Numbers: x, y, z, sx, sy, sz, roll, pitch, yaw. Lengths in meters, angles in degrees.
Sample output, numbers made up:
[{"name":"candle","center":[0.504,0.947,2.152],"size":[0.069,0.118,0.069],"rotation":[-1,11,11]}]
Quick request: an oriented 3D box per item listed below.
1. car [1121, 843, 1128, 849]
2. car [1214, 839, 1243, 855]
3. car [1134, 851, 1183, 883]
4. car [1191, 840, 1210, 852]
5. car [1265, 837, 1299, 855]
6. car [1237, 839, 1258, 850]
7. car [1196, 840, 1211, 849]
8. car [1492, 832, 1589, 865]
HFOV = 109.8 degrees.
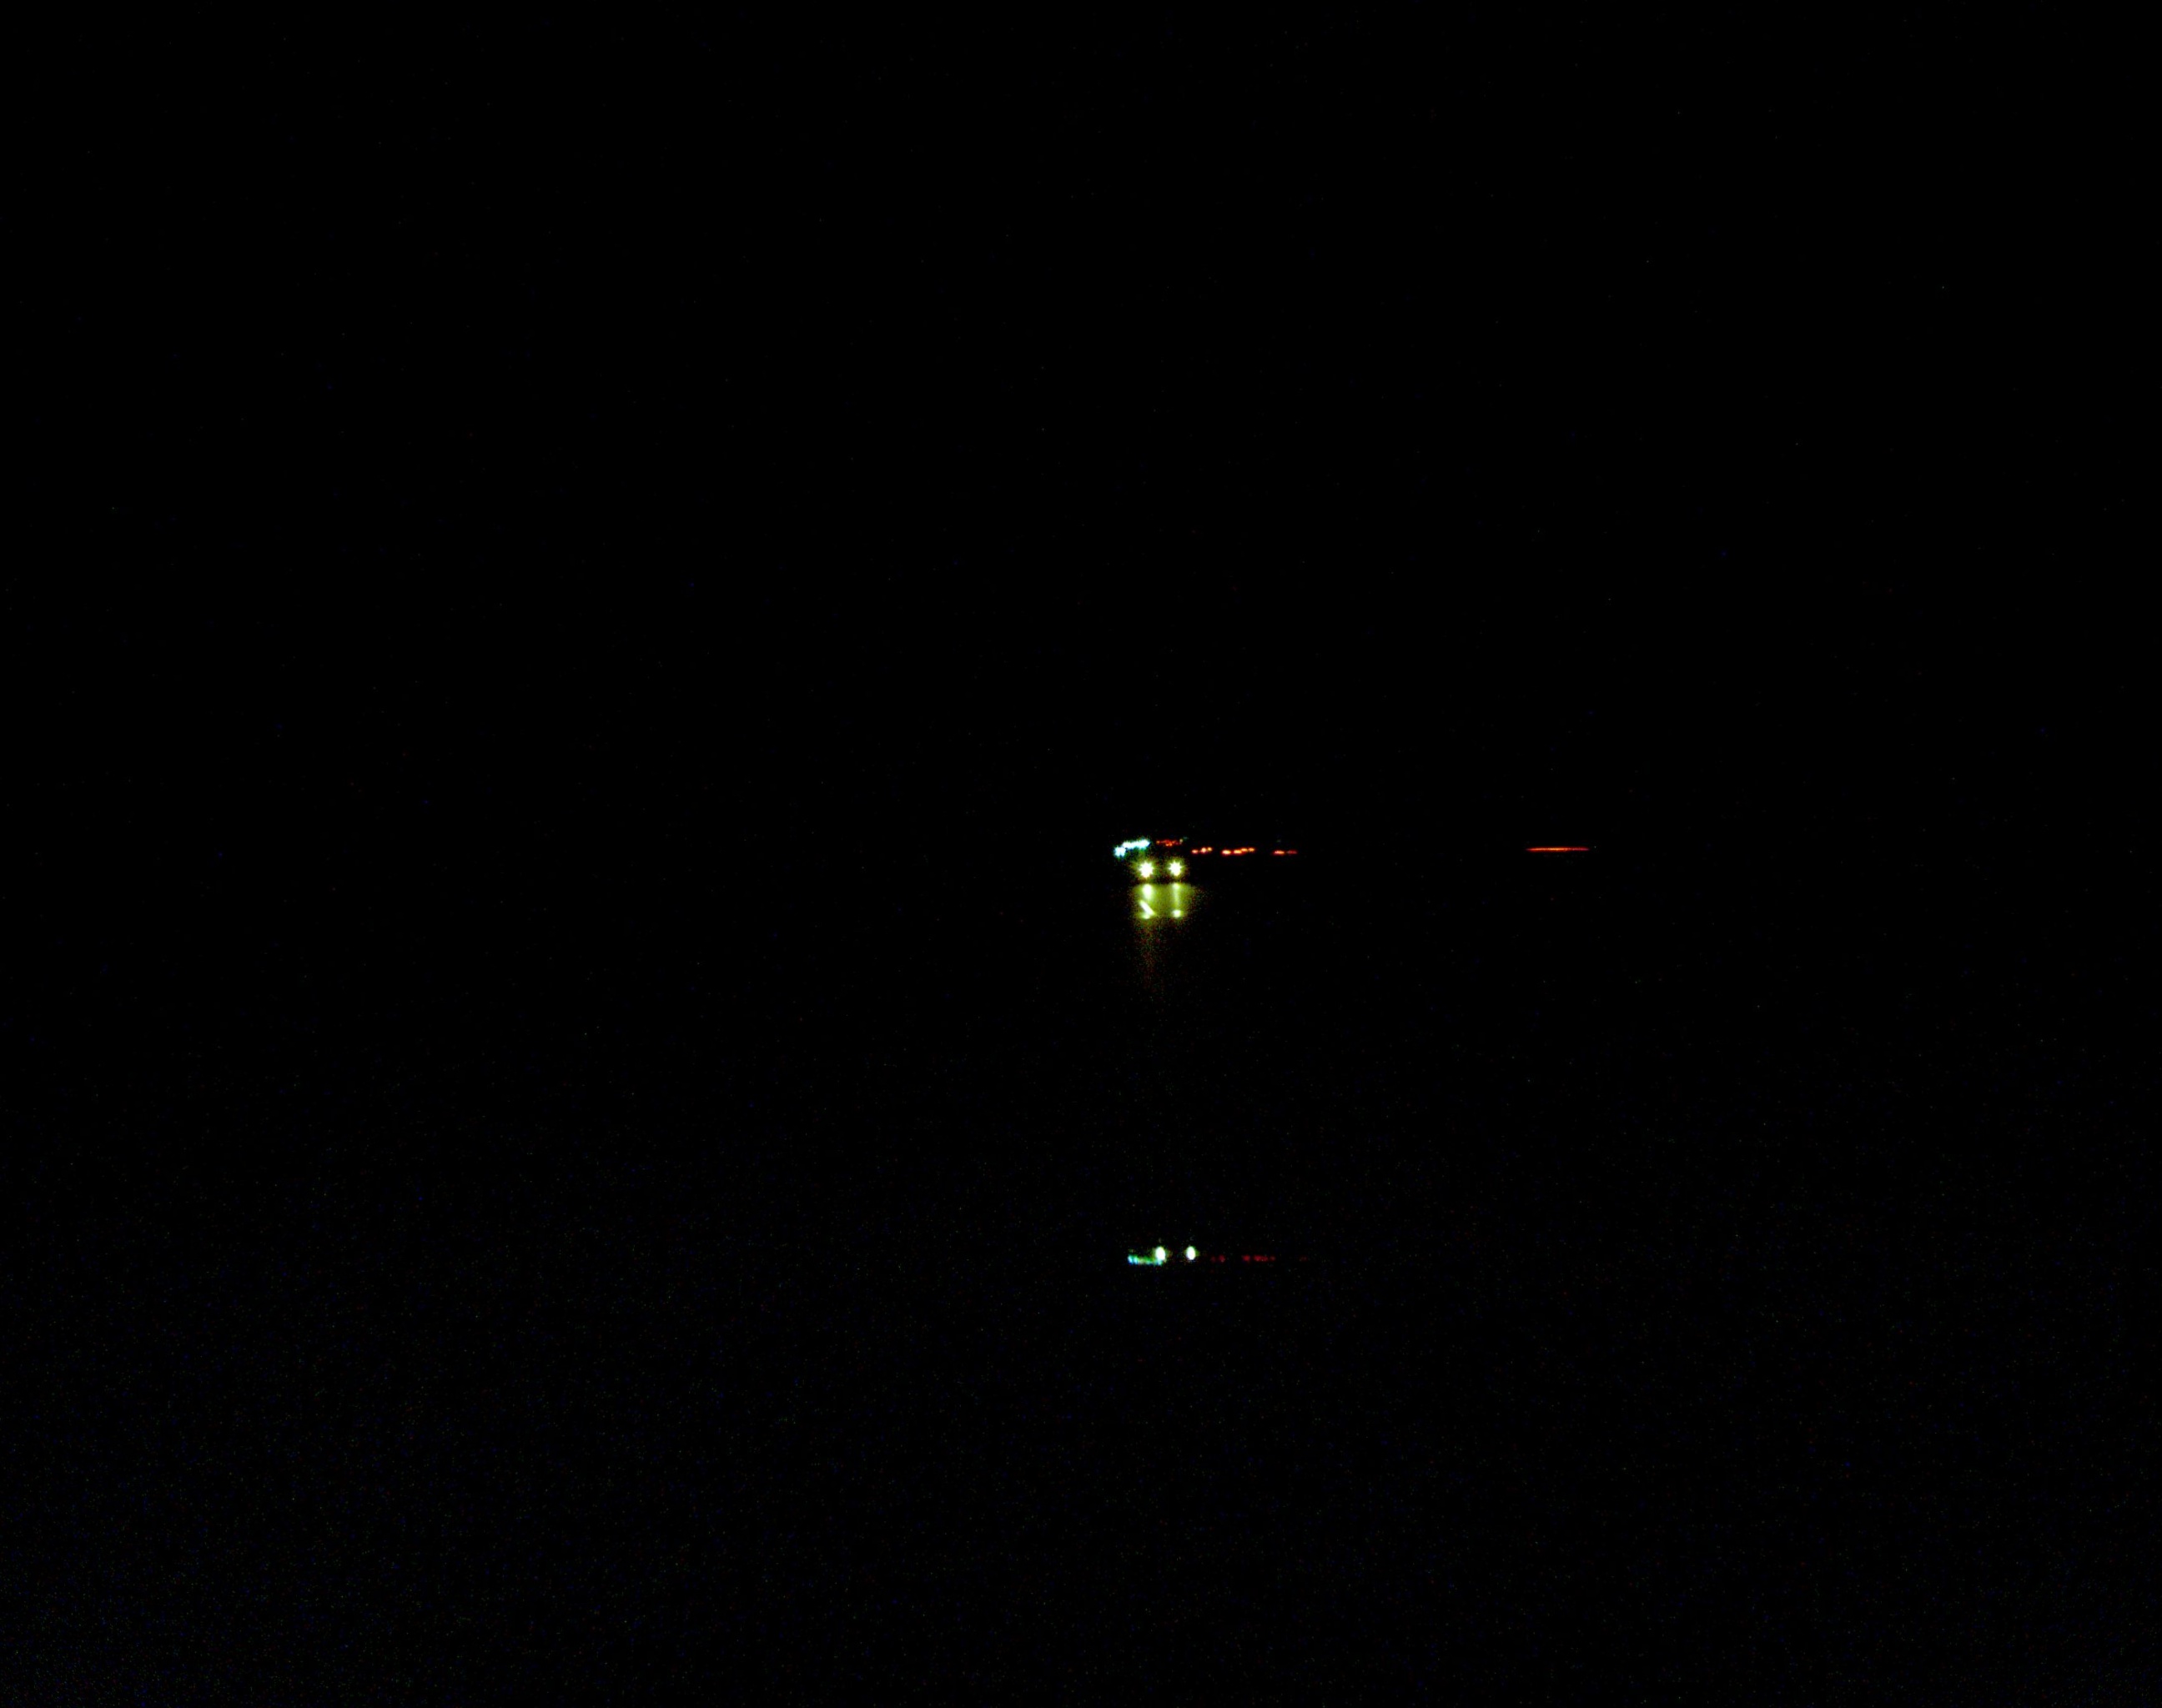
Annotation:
[{"name":"car","center":[12.770,-2.382,223.562],"size":[1.998,1.653,4.000],"rotation":[-2,1,3]},{"name":"car","center":[16.874,-0.760,87.232],"size":[2.124,1.710,5.626],"rotation":[-2,0,0]},{"name":"car","center":[4.111,0.681,41.007],"size":[1.998,1.509,5.650],"rotation":[-3,0,0]},{"name":"car","center":[18.686,-1.215,118.896],"size":[2.124,1.710,5.626],"rotation":[-2,0,0]},{"name":"car","center":[20.529,-0.755,77.841],"size":[2.124,1.687,5.108],"rotation":[-2,0,0]},{"name":"car","center":[26.561,-1.521,121.511],"size":[2.124,1.711,5.191],"rotation":[-3,0,0]},{"name":"car","center":[24.292,-1.809,150.711],"size":[2.124,1.710,5.627],"rotation":[-2,0,1]},{"name":"car","center":[23.937,-0.272,39.838],"size":[2.124,1.546,5.109],"rotation":[-2,0,2]}]
